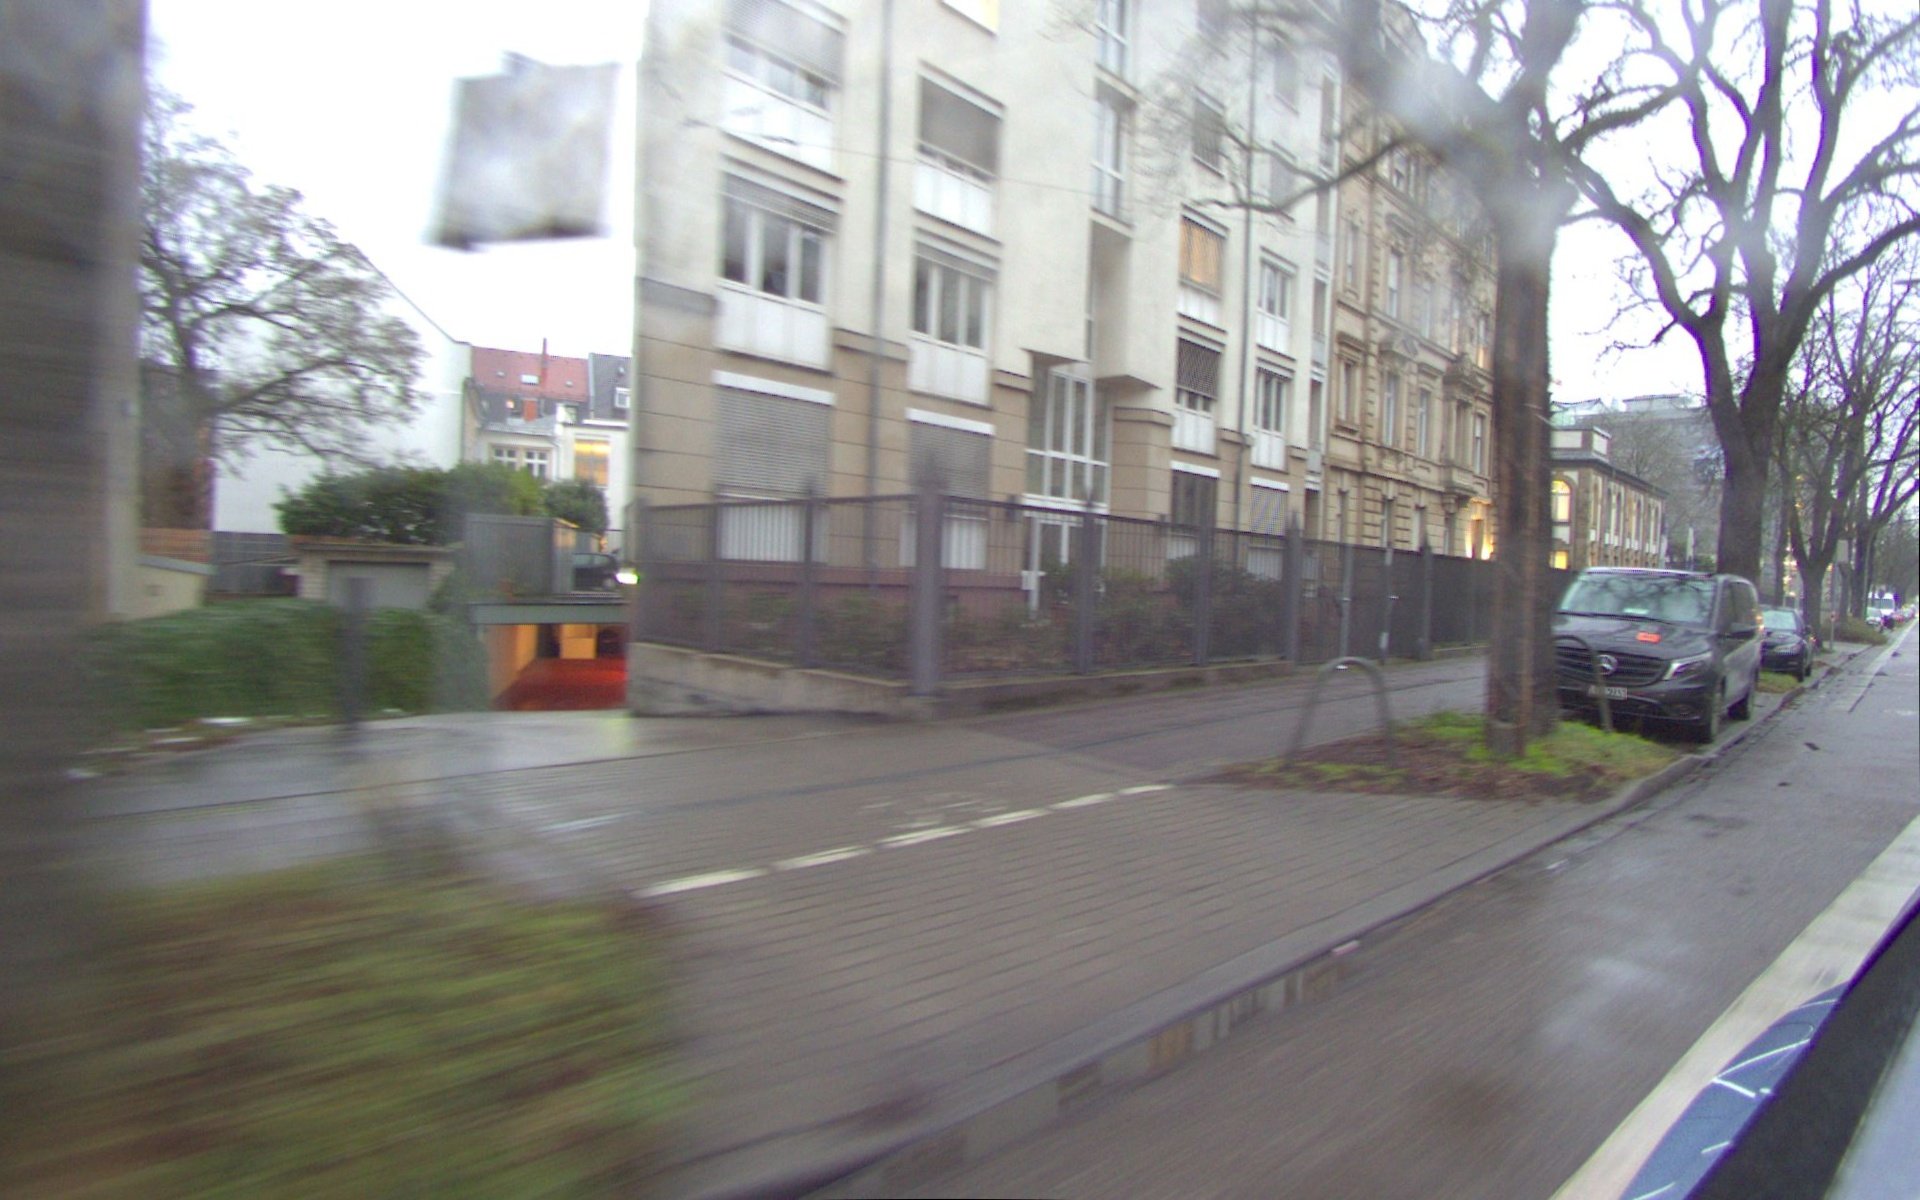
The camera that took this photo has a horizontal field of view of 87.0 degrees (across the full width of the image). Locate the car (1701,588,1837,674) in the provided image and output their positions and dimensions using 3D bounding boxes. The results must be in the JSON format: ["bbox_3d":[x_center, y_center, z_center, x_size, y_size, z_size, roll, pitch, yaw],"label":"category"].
[{"bbox_3d":[16.561,0.576,20.641,1.758,1.463,4.092,6,3,43],"label":"car"}]

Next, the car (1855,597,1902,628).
[{"bbox_3d":[56.211,0.732,61.987,1.992,1.702,3.940,2,2,41],"label":"car"}]

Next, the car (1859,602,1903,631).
[{"bbox_3d":[49.475,0.845,54.406,1.622,1.425,3.940,2,2,41],"label":"car"}]

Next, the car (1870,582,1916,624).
[{"bbox_3d":[63.109,0.170,68.543,2.086,2.670,5.368,2,2,41],"label":"car"}]

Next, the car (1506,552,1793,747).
[{"bbox_3d":[8.681,0.467,12.534,2.032,1.898,4.883,4,3,44],"label":"car"}]
